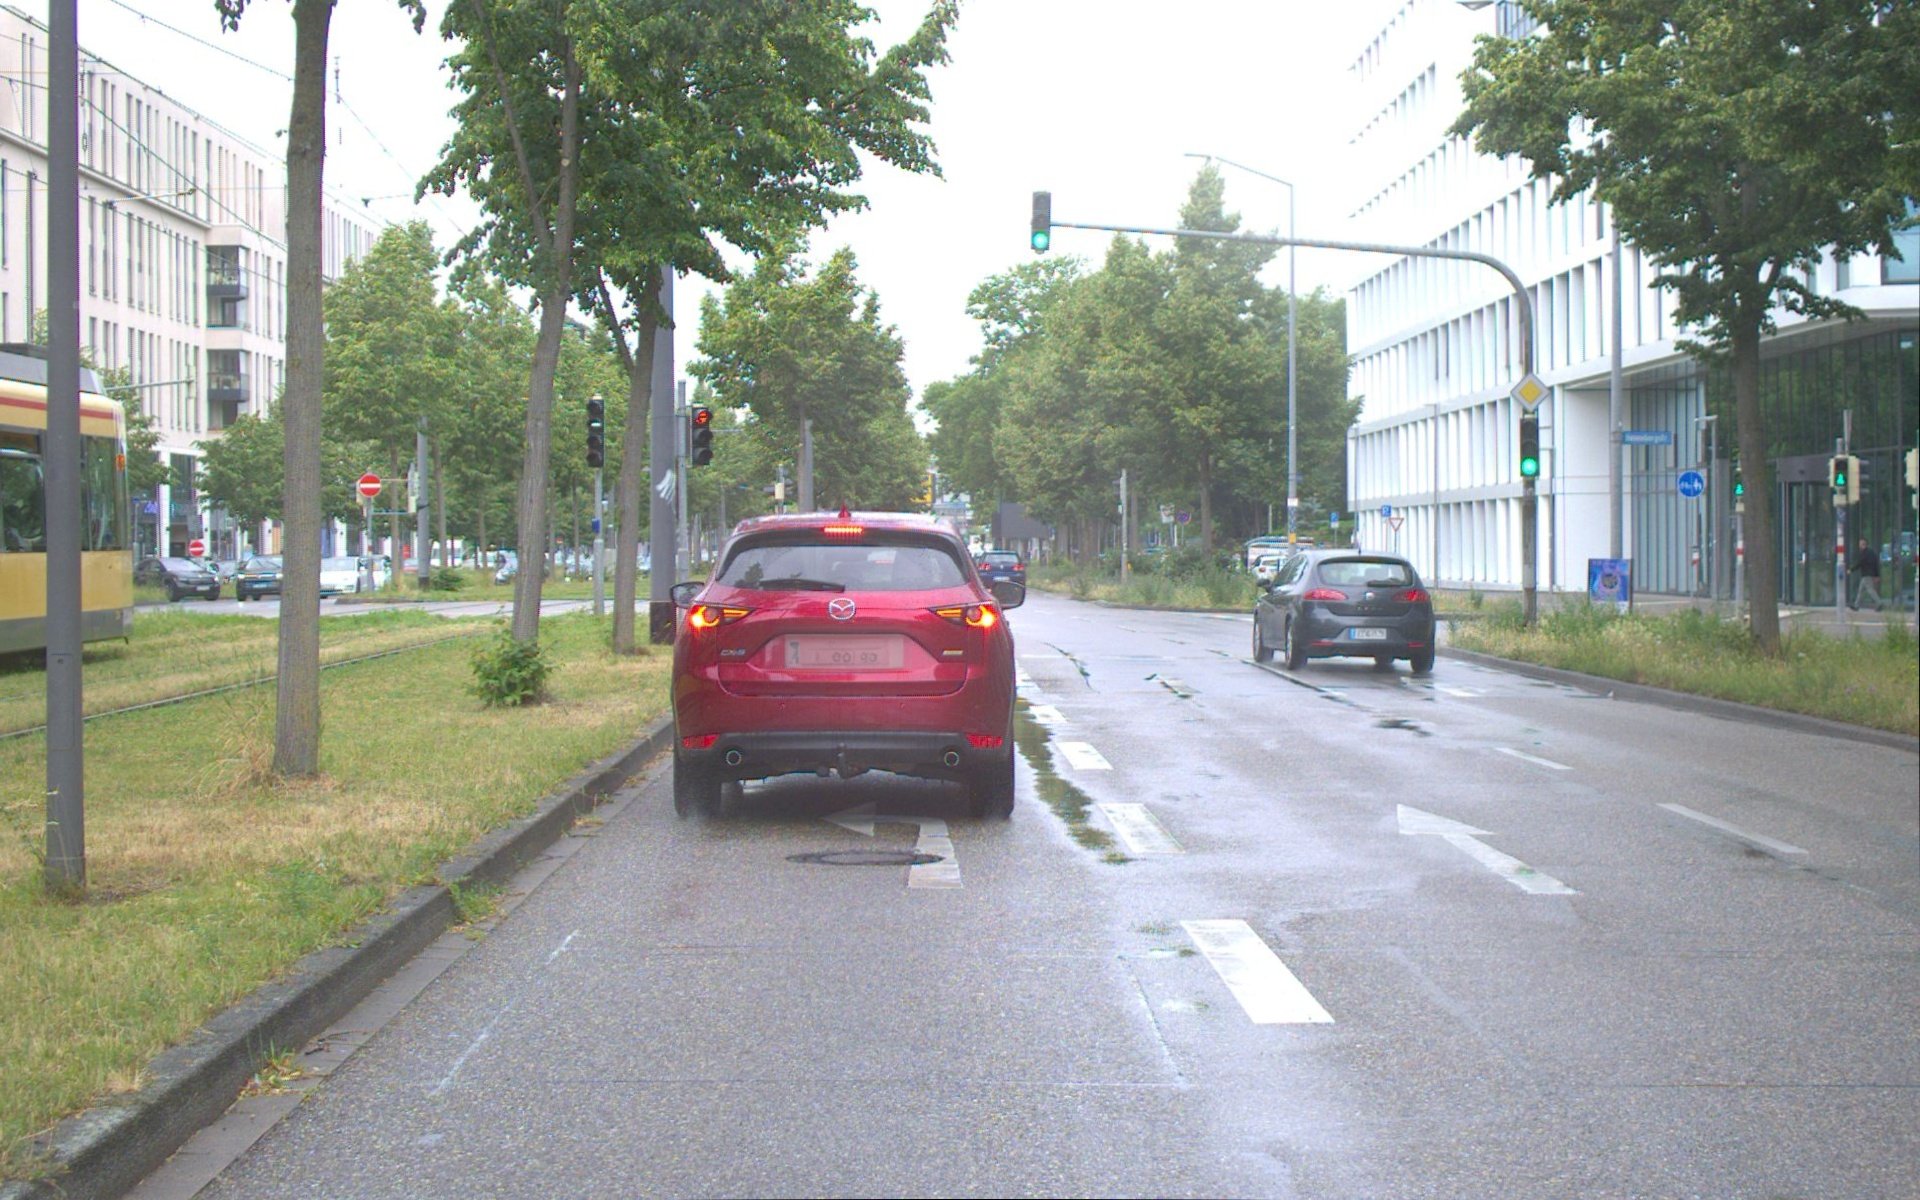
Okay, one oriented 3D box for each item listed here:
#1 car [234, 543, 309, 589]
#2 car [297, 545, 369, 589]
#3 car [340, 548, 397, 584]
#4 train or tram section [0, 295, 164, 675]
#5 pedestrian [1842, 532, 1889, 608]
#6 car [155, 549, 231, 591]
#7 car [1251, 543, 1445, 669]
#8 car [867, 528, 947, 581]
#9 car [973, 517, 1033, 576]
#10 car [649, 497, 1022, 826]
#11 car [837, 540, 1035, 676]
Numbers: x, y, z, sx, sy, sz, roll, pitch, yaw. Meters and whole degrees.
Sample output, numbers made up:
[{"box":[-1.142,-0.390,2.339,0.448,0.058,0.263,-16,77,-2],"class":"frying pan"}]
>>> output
[{"box":[-24.431,-1.217,122.141,1.993,1.612,4.001,0,1,-2],"class":"car"},{"box":[-21.513,-1.149,118.052,1.993,1.479,4.446,0,1,-5],"class":"car"},{"box":[-24.636,-1.419,143.216,1.993,1.479,4.446,0,0,-5],"class":"car"},{"box":[-10.785,-1.106,32.661,3.129,3.646,15.065,0,1,-1],"class":"train or tram section"},{"box":[20.555,-0.683,78.039,0.678,1.701,0.784,0,1,-40],"class":"pedestrian"},{"box":[-27.576,-1.091,123.696,1.993,1.479,4.446,0,1,-4],"class":"car"},{"box":[4.688,0.042,42.014,1.743,1.460,3.782,0,1,-3],"class":"car"},{"box":[-1.538,-1.302,97.818,1.967,1.432,4.553,1,1,-5],"class":"car"},{"box":[1.481,-1.864,119.660,1.993,2.007,4.000,0,1,-1],"class":"car"},{"box":[-0.678,0.278,19.565,1.898,1.671,4.000,0,1,-1],"class":"car"},{"box":[-0.224,0.049,39.159,1.960,1.460,3.781,0,1,4],"class":"car"}]
